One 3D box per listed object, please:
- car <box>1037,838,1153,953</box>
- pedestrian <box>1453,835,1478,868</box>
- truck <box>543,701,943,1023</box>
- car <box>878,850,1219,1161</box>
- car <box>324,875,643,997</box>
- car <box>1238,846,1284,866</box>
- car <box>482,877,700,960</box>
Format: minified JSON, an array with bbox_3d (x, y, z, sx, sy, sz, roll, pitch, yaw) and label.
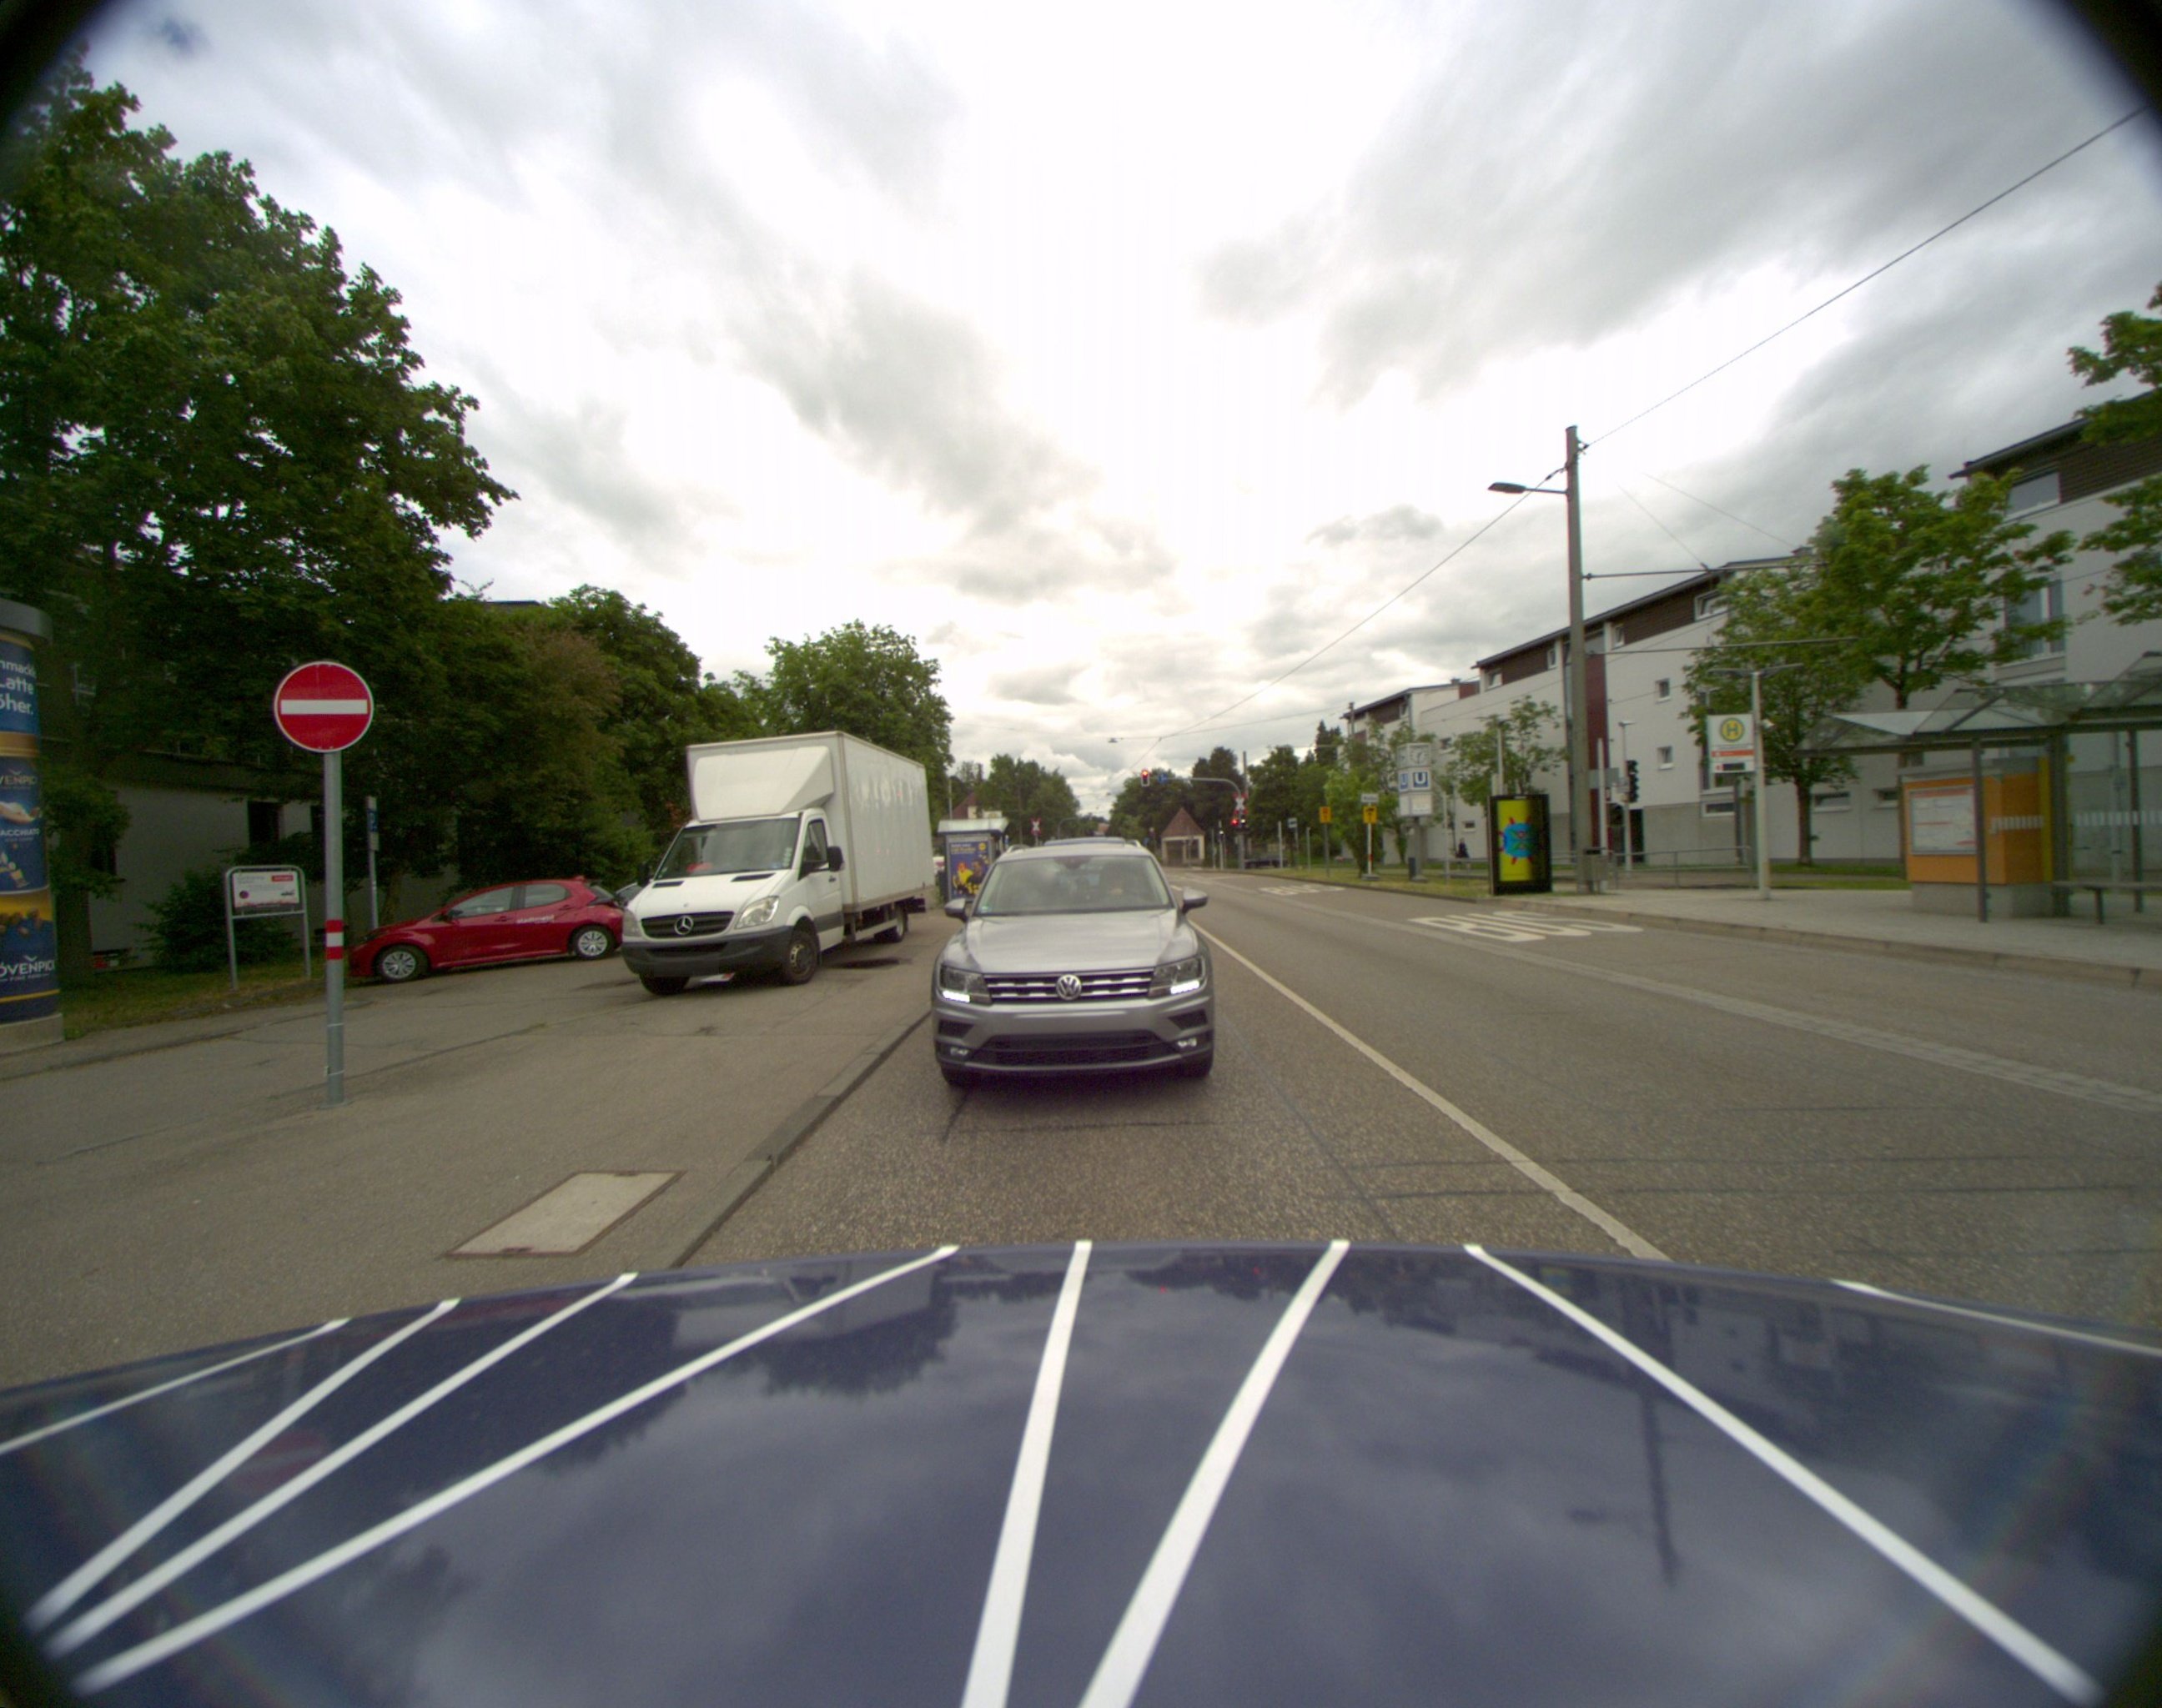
[{"bbox_3d":[0.274,0.678,14.657,1.849,1.850,4.000,-2,1,1],"label":"car"},{"bbox_3d":[19.032,-0.113,37.607,0.782,1.586,0.780,-3,1,-8],"label":"pedestrian"},{"bbox_3d":[-4.401,0.034,12.193,2.541,3.407,7.775,-3,1,2],"label":"truck"},{"bbox_3d":[-0.138,0.827,6.355,1.811,1.638,4.330,-3,0,1],"label":"car"},{"bbox_3d":[-9.949,1.288,13.075,3.901,1.475,1.680,-5,2,-24],"label":"car"},{"bbox_3d":[17.790,0.198,75.306,3.998,1.696,1.928,-3,1,-2],"label":"car"},{"bbox_3d":[-11.233,1.413,17.707,4.005,1.402,1.521,-5,2,-31],"label":"car"}]
